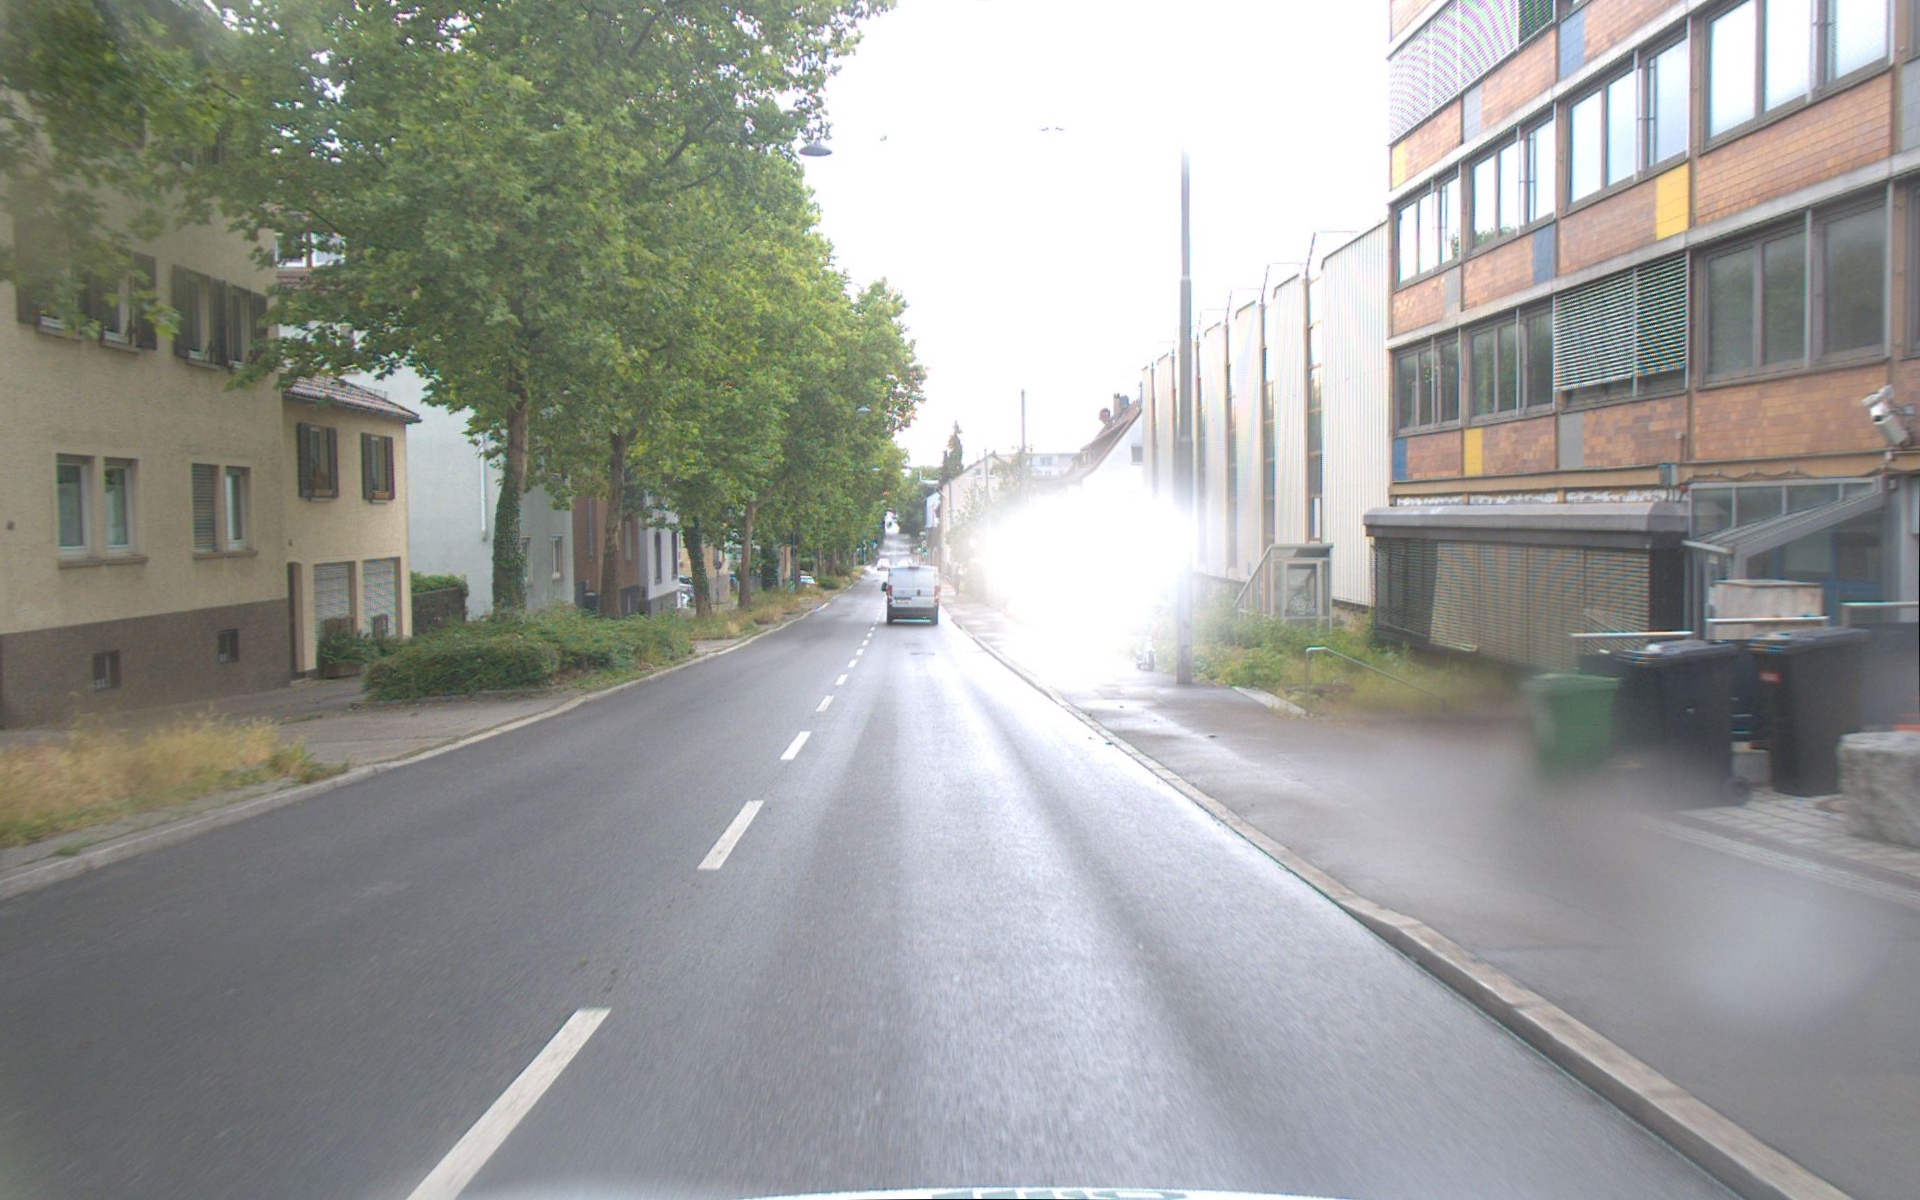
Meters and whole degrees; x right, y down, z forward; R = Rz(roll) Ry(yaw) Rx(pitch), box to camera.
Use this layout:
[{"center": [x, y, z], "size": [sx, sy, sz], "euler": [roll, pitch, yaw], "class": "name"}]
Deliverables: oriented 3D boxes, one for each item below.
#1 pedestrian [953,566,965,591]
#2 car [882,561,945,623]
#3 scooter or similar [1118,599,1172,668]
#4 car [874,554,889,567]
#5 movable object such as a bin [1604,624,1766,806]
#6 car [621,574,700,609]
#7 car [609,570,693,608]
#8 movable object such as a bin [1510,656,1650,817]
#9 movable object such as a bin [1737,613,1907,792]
[{"center": [-0.066, -1.473, 114.121], "size": [0.799, 1.728, 0.729], "euler": [0, 0, -2], "class": "pedestrian"}, {"center": [-1.887, -0.359, 65.549], "size": [2.300, 2.197, 4.775], "euler": [-1, 3, -4], "class": "car"}, {"center": [3.309, 0.587, 29.724], "size": [0.593, 1.182, 1.698], "euler": [-1, 0, -6], "class": "scooter or similar"}, {"center": [-10.644, -5.284, 223.254], "size": [1.954, 1.738, 4.257], "euler": [0, 1, -4], "class": "car"}, {"center": [4.814, 0.746, 11.026], "size": [0.681, 1.101, 0.778], "euler": [-3, 1, -1], "class": "movable object such as a bin"}, {"center": [-16.813, -0.497, 92.938], "size": [4.113, 1.924, 1.999], "euler": [-1, 1, -3], "class": "car"}, {"center": [-16.335, -0.586, 87.527], "size": [4.113, 1.924, 1.999], "euler": [-1, 1, -3], "class": "car"}, {"center": [4.052, 0.880, 10.845], "size": [0.607, 0.952, 0.686], "euler": [-3, 1, -1], "class": "movable object such as a bin"}, {"center": [5.768, 0.667, 11.107], "size": [0.681, 1.101, 0.778], "euler": [-3, 1, -1], "class": "movable object such as a bin"}]
